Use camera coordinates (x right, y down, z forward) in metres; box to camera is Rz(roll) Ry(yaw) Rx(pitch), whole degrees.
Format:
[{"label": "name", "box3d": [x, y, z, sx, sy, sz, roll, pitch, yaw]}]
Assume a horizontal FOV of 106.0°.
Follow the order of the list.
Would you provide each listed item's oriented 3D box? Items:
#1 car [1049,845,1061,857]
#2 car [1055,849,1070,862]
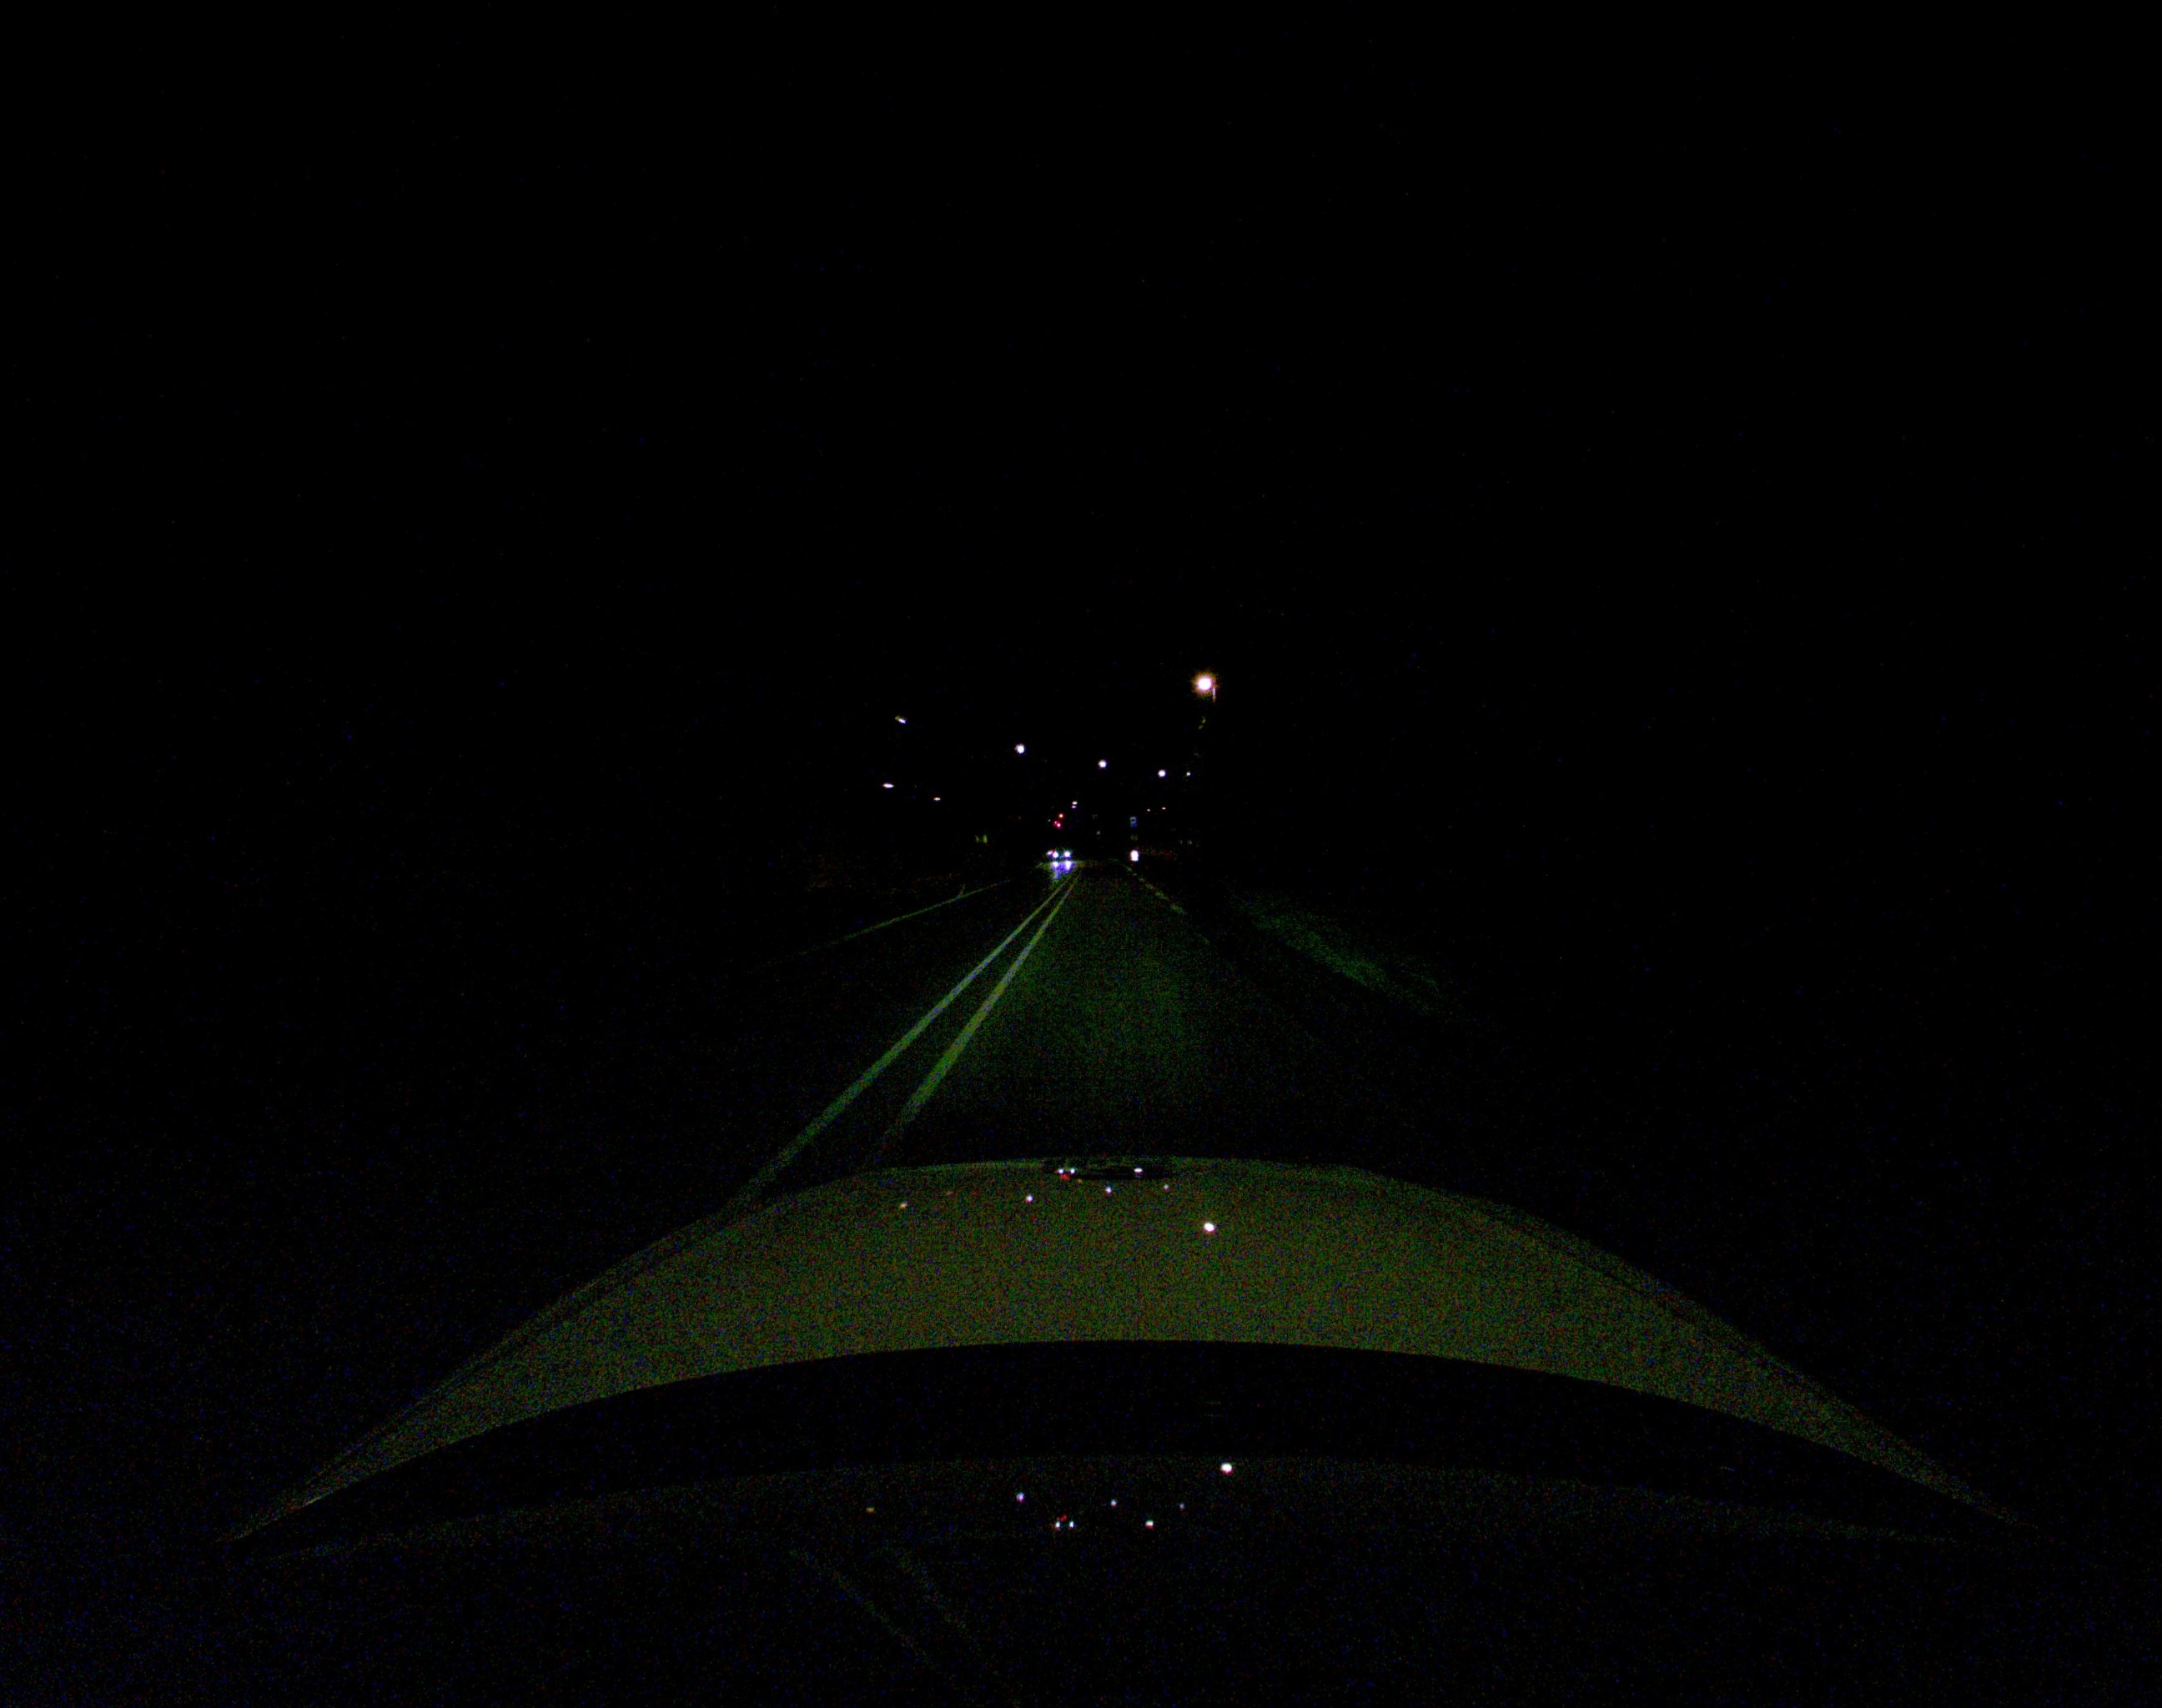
[{"label": "car", "box3d": [-4.737, -0.551, 149.385, 1.916, 2.014, 4.113, 1, -1, -6]}, {"label": "car", "box3d": [-2.387, 0.183, 104.571, 1.876, 1.554, 4.215, -3, 0, -1]}]
